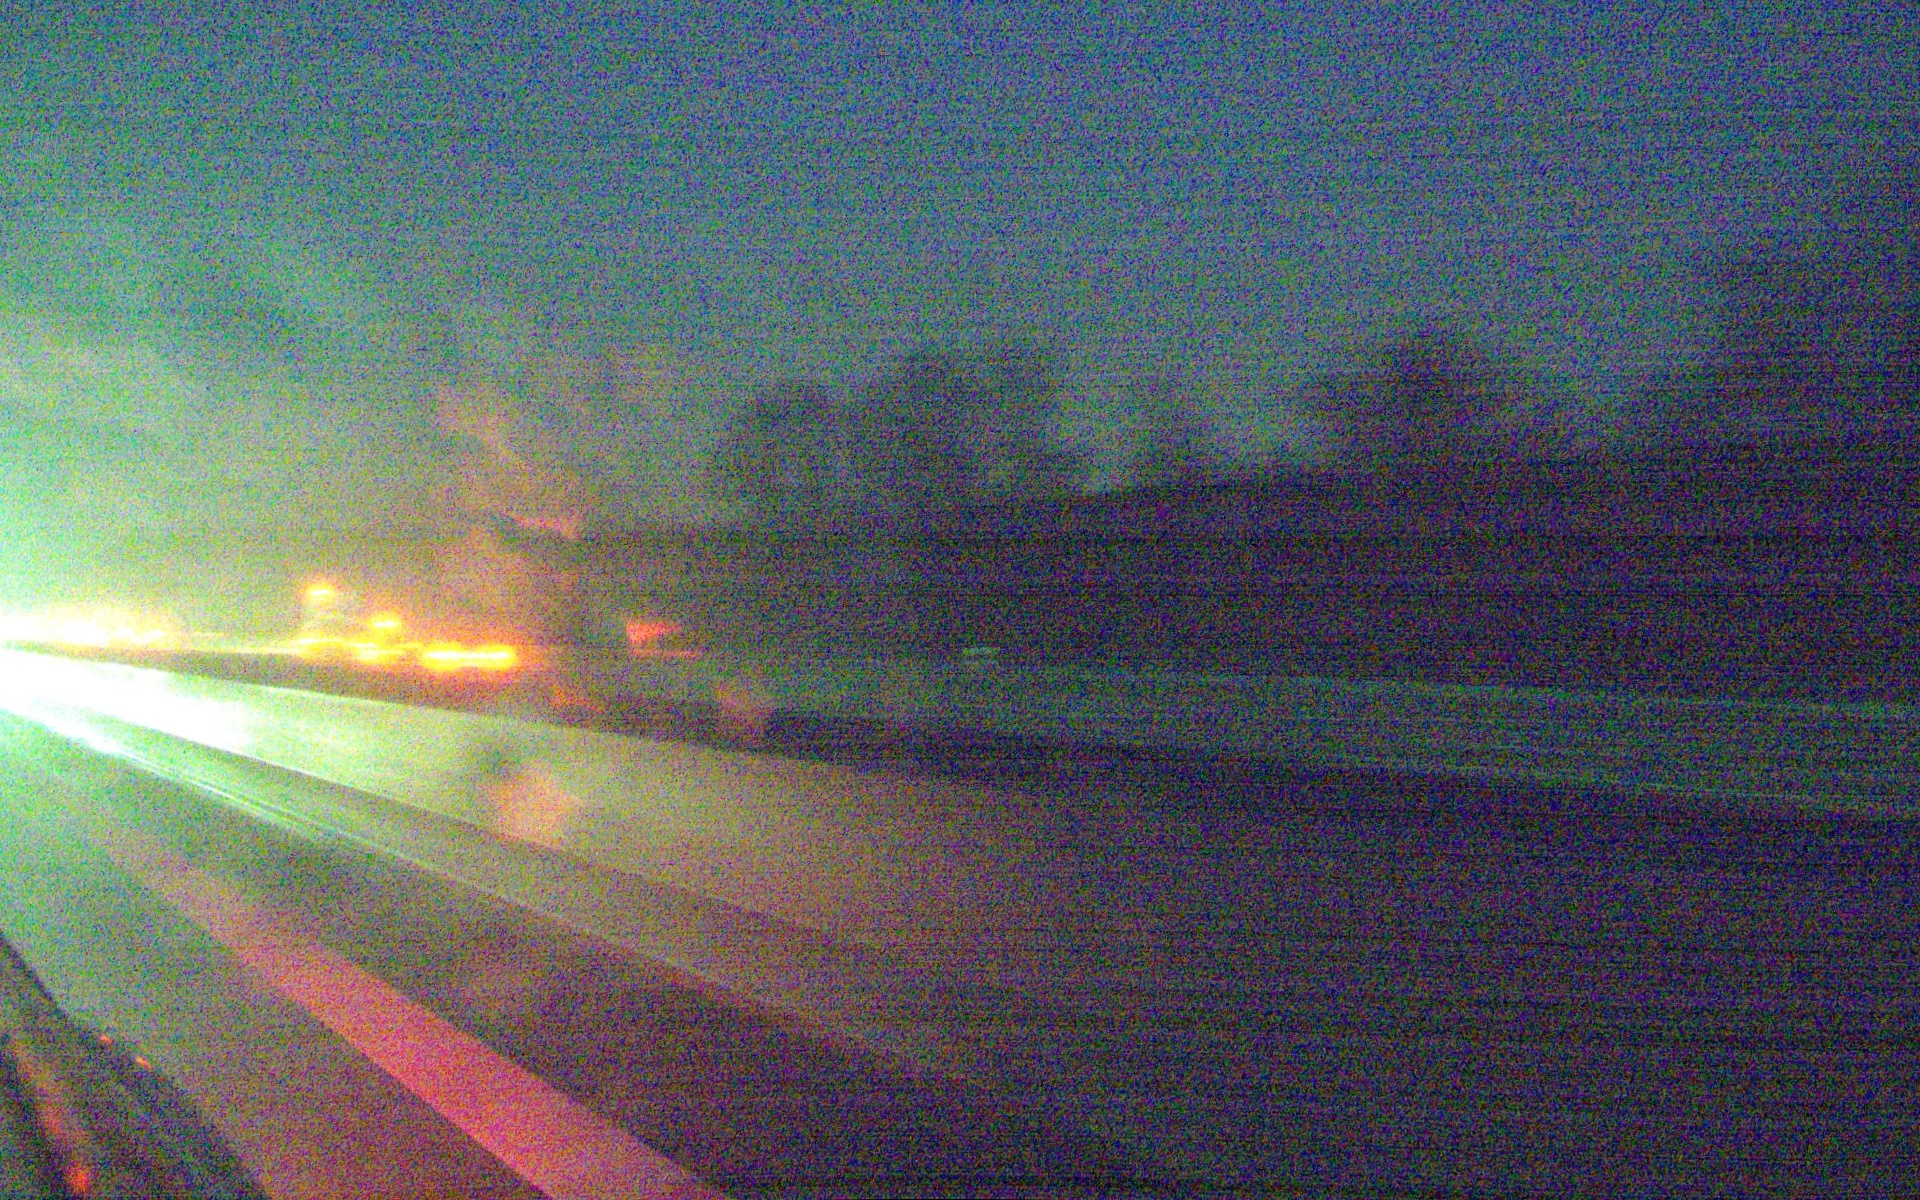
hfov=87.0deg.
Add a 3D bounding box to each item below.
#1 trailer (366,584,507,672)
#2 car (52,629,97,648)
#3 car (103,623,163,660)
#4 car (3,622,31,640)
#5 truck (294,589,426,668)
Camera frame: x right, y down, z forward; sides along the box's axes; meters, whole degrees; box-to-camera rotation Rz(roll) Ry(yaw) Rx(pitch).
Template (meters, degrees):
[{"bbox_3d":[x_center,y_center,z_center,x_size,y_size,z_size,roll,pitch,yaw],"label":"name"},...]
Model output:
[{"bbox_3d":[-25.276,1.361,48.615,8.697,3.930,2.828,-2,-2,40],"label":"trailer"},{"bbox_3d":[-76.182,3.306,87.020,4.525,1.571,1.975,-2,-2,37],"label":"car"},{"bbox_3d":[-47.102,2.322,57.612,3.998,2.029,1.973,-2,-2,41],"label":"car"},{"bbox_3d":[-109.534,3.636,117.533,5.359,2.029,1.972,-1,-2,42],"label":"car"},{"bbox_3d":[-32.556,1.566,54.702,10.203,3.938,2.839,-2,-2,40],"label":"truck"}]
